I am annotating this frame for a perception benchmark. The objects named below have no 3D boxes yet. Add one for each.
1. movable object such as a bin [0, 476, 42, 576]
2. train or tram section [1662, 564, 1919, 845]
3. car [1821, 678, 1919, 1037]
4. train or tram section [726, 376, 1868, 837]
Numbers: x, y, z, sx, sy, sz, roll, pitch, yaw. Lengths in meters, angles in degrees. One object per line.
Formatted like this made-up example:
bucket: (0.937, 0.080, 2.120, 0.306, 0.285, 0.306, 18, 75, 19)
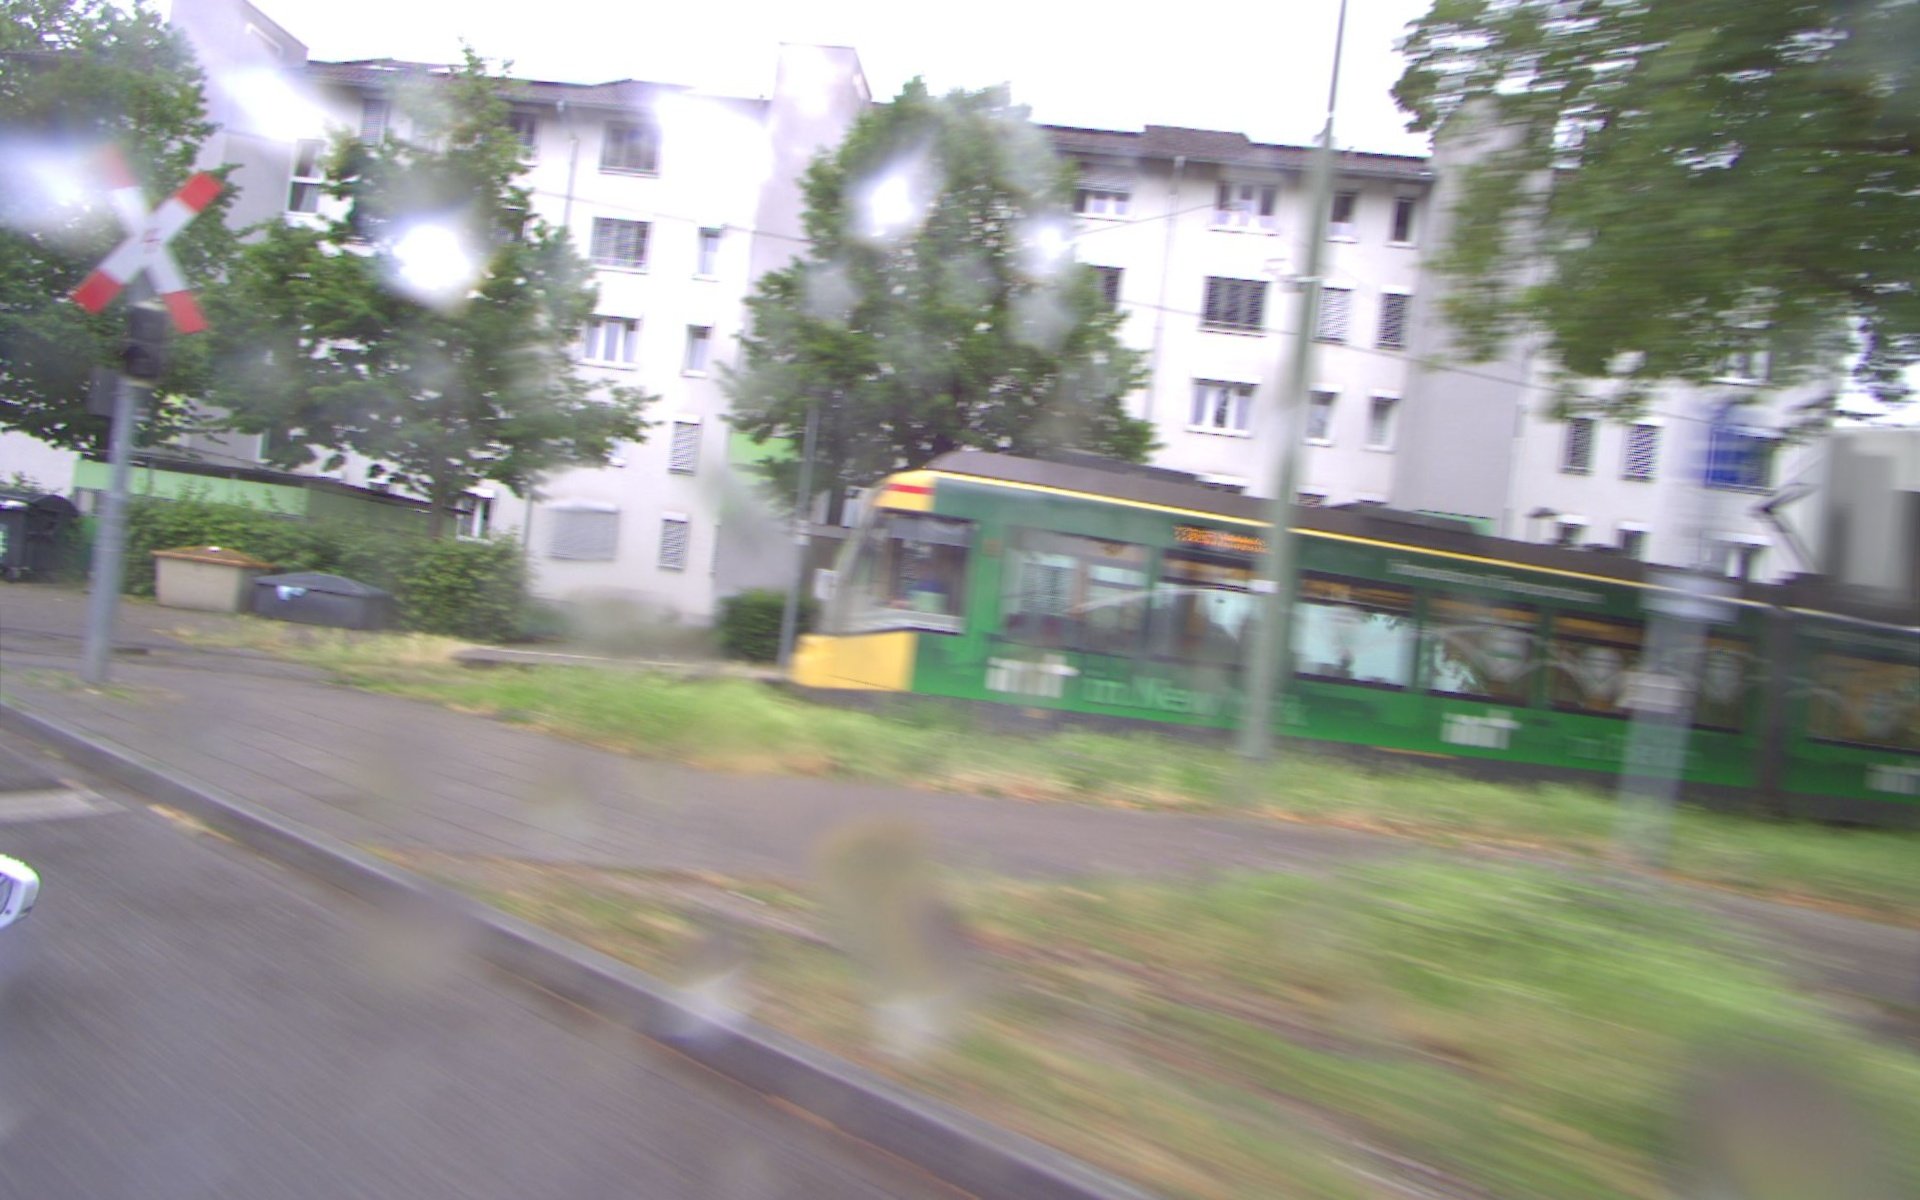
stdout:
movable object such as a bin: (-17.620, -1.397, 17.645, 1.472, 1.725, 1.555, 7, 0, 8)
train or tram section: (18.637, 2.270, 16.169, 14.498, 3.631, 2.710, 7, -2, -12)
car: (5.129, 1.236, 2.734, 1.963, 1.501, 4.000, 8, 0, 0)
train or tram section: (4.574, 0.439, 13.157, 14.498, 3.631, 2.710, 7, -2, -12)
